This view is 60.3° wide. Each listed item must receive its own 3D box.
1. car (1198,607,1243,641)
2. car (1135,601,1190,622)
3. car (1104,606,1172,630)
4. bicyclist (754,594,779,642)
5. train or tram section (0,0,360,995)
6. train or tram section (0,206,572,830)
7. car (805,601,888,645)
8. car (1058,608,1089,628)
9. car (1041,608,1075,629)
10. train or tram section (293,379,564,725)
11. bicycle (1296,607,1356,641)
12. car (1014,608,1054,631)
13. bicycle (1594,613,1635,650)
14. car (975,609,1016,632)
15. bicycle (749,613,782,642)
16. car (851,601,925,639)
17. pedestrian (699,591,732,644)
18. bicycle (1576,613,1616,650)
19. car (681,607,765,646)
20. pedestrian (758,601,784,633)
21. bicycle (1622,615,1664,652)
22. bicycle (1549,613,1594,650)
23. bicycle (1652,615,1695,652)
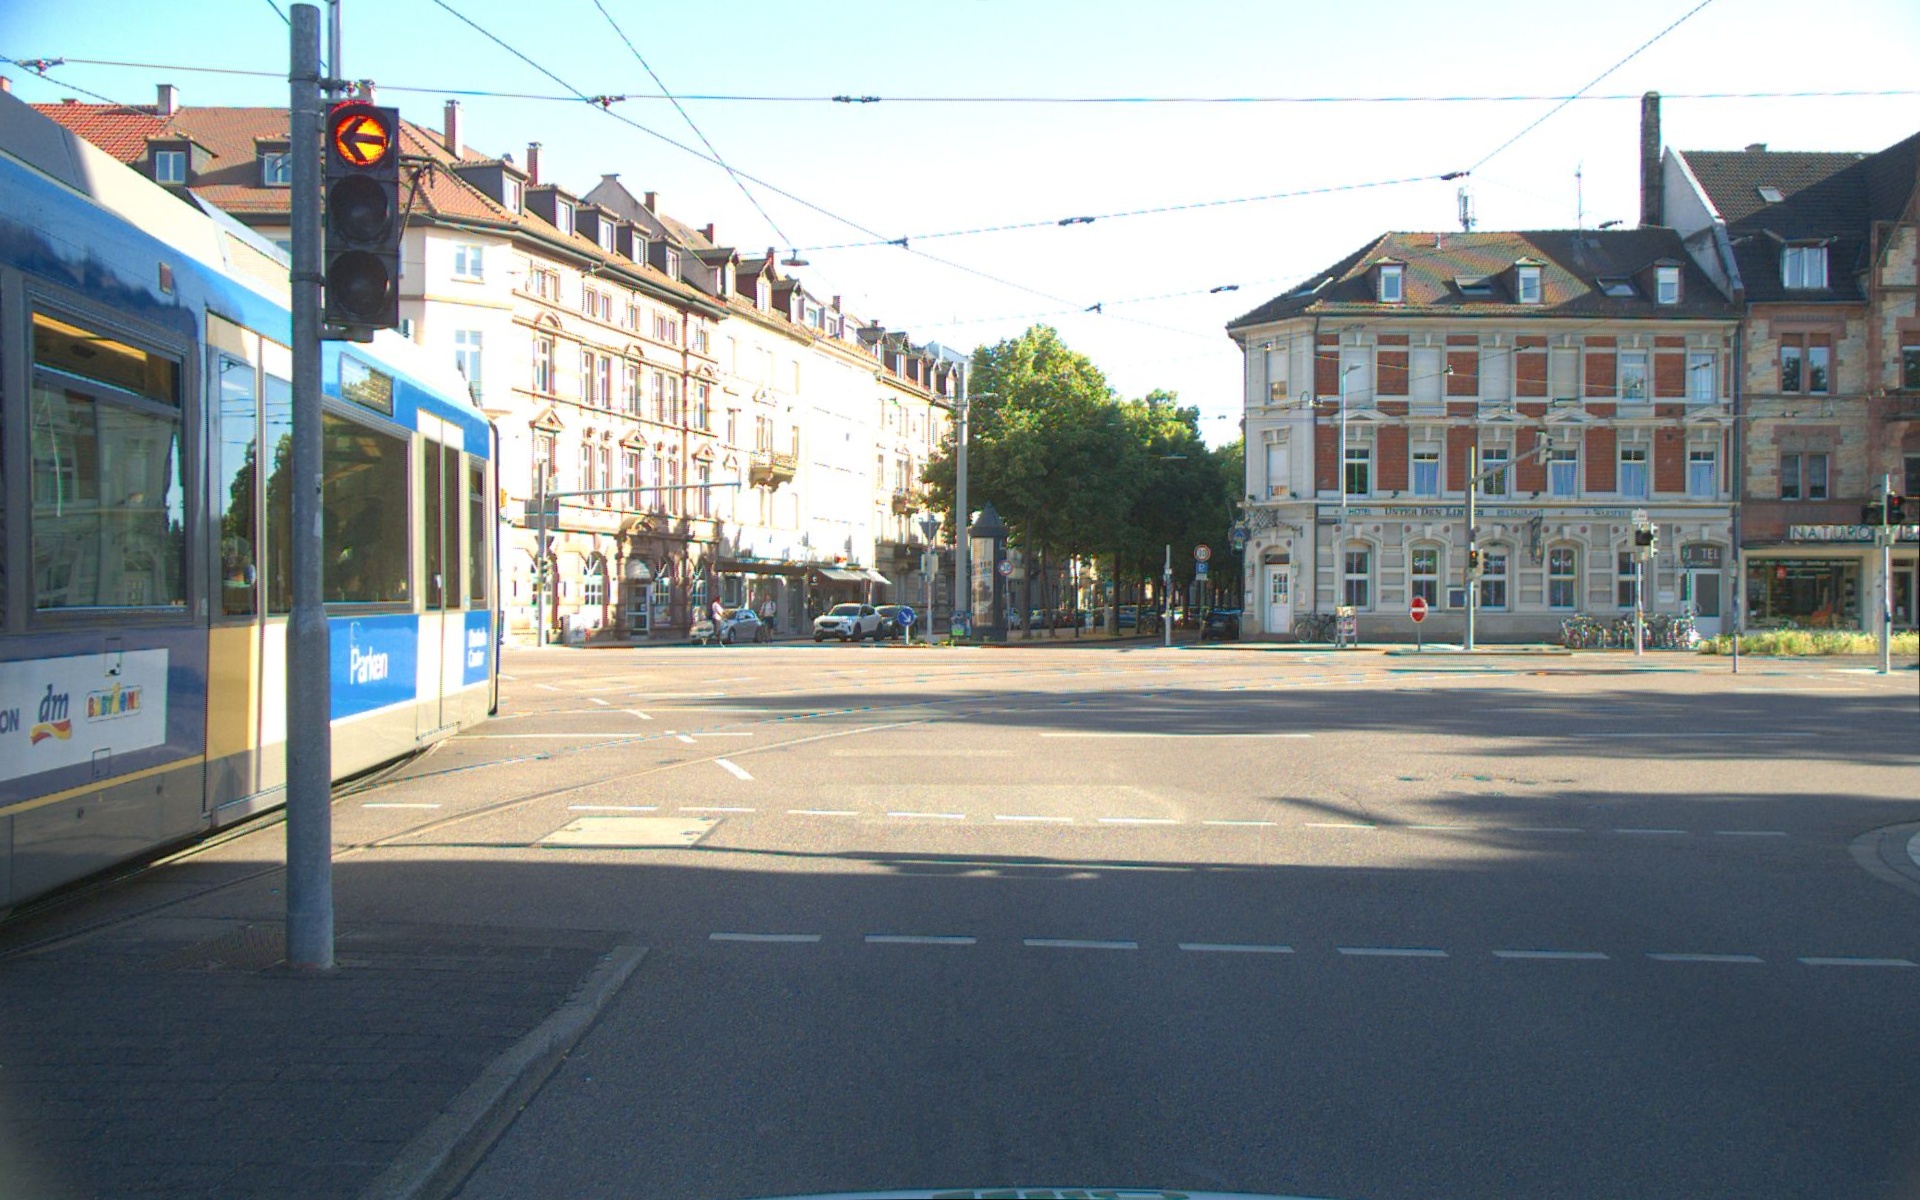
[{"bbox_3d":[13.051,1.178,82.630,1.951,1.613,4.003,0,0,13],"label":"car"},{"bbox_3d":[16.384,0.920,133.870,3.912,1.736,1.996,0,0,30],"label":"car"},{"bbox_3d":[12.450,1.223,115.634,4.290,1.640,1.998,0,0,26],"label":"car"},{"bbox_3d":[-7.598,0.694,64.922,0.664,1.852,1.071,0,0,12],"label":"bicyclist"},{"bbox_3d":[-4.588,-0.462,5.562,2.759,3.561,7.955,0,0,-4],"label":"train or tram section"},{"bbox_3d":[-5.265,-0.495,13.716,2.759,3.561,8.453,0,0,-5],"label":"train or tram section"},{"bbox_3d":[-4.556,0.887,67.244,1.951,1.713,4.393,0,0,17],"label":"car"},{"bbox_3d":[9.357,1.493,136.458,1.727,1.576,4.394,0,0,16],"label":"car"},{"bbox_3d":[7.746,1.451,130.557,1.798,1.579,4.393,0,0,16],"label":"car"},{"bbox_3d":[-7.514,-0.531,23.166,2.728,3.561,11.964,0,0,-19],"label":"train or tram section"},{"bbox_3d":[12.741,0.829,57.580,2.045,1.144,0.366,1,-1,-5],"label":"bicycle"},{"bbox_3d":[5.496,1.450,122.732,1.951,1.640,4.393,0,0,17],"label":"car"},{"bbox_3d":[21.156,1.008,53.509,0.605,1.163,2.175,0,0,4],"label":"bicycle"},{"bbox_3d":[2.385,1.345,110.983,1.951,1.512,4.003,0,0,13],"label":"car"},{"bbox_3d":[-7.609,1.081,64.879,0.665,1.085,2.127,0,0,12],"label":"bicycle"},{"bbox_3d":[-3.164,0.867,73.780,1.951,1.640,4.393,0,0,17],"label":"car"},{"bbox_3d":[-8.359,0.589,56.577,1.029,1.774,0.805,0,0,-16],"label":"pedestrian"},{"bbox_3d":[20.584,1.013,53.539,0.605,1.163,2.175,0,0,4],"label":"bicycle"},{"bbox_3d":[-9.540,1.035,66.889,1.858,1.481,4.002,0,0,17],"label":"car"},{"bbox_3d":[-9.130,0.820,79.894,0.908,1.562,1.138,0,0,13],"label":"pedestrian"},{"bbox_3d":[22.063,1.071,53.450,0.605,1.163,2.175,0,0,4],"label":"bicycle"},{"bbox_3d":[19.812,1.003,53.657,0.789,1.163,2.175,0,0,4],"label":"bicycle"},{"bbox_3d":[23.028,1.075,53.398,0.596,1.156,2.136,0,0,4],"label":"bicycle"}]
